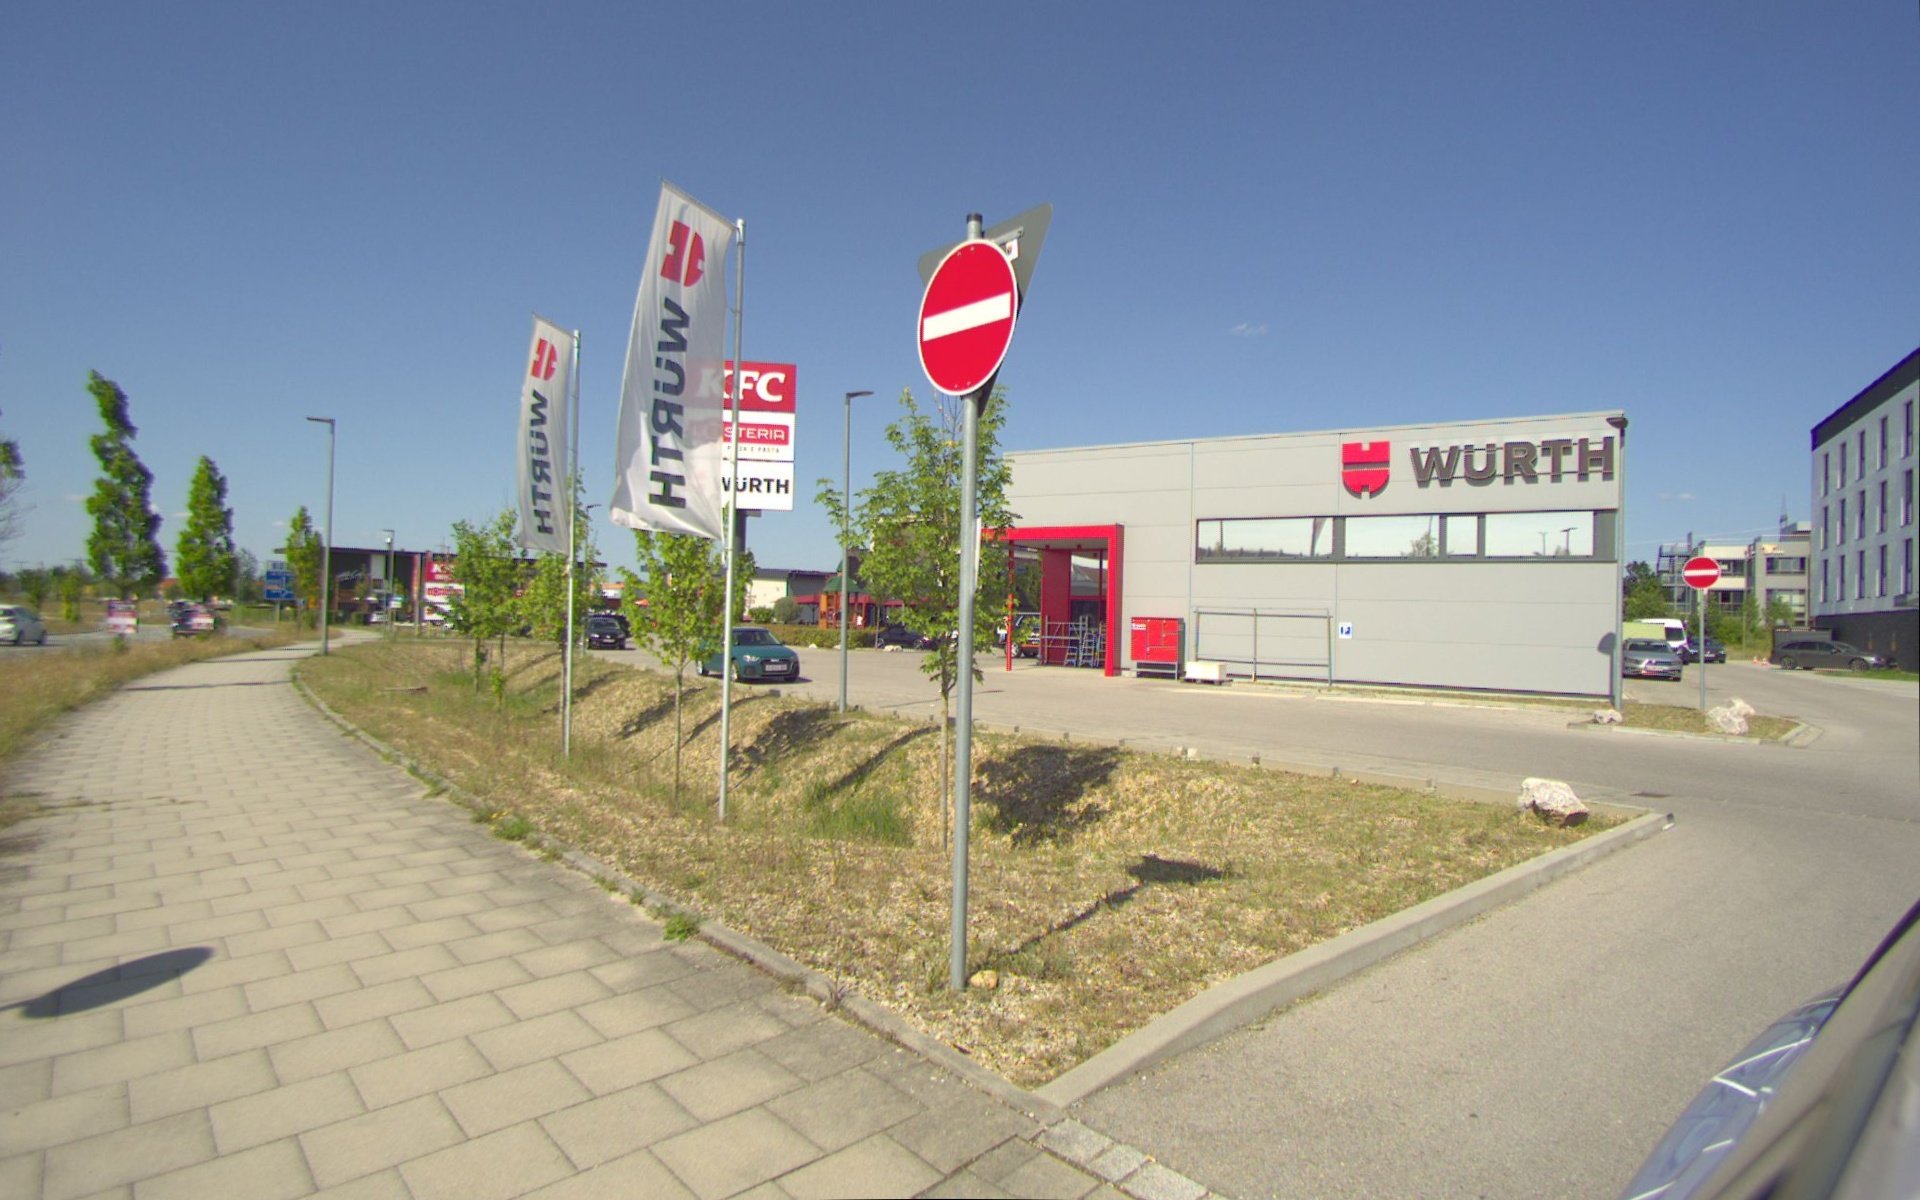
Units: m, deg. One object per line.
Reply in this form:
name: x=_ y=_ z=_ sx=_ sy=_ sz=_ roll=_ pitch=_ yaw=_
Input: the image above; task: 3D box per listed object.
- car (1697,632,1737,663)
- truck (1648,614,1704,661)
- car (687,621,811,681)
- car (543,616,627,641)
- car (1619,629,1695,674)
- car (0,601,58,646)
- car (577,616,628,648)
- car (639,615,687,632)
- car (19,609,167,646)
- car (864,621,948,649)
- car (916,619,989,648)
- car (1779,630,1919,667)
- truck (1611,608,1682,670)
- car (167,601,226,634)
car: x=42.797 y=2.649 z=57.254 sx=1.708 sy=1.638 sz=3.948 roll=0 pitch=-1 yaw=36
truck: x=38.796 y=2.009 z=54.970 sx=1.983 sy=2.407 sz=5.825 roll=0 pitch=-1 yaw=30
car: x=-5.808 y=1.323 z=27.503 sx=1.810 sy=1.468 sz=4.227 roll=2 pitch=-2 yaw=-34
car: x=-22.788 y=1.758 z=61.572 sx=4.445 sy=1.477 sz=2.001 roll=2 pitch=-2 yaw=-33
car: x=25.515 y=1.850 z=37.154 sx=1.862 sy=1.527 sz=3.959 roll=0 pitch=-1 yaw=29
car: x=-35.406 y=0.832 z=37.507 sx=1.907 sy=1.571 sz=4.766 roll=1 pitch=-1 yaw=-29
car: x=-17.306 y=1.529 z=48.913 sx=1.839 sy=1.484 sz=4.370 roll=1 pitch=-1 yaw=-26
car: x=-28.402 y=2.251 z=96.859 sx=1.871 sy=1.586 sz=4.034 roll=0 pitch=-2 yaw=41
car: x=-38.953 y=1.211 z=45.592 sx=1.933 sy=1.571 sz=4.702 roll=0 pitch=-1 yaw=34
car: x=-2.850 y=1.800 z=53.177 sx=4.119 sy=1.355 sz=1.811 roll=0 pitch=-2 yaw=30
car: x=-0.444 y=1.879 z=57.340 sx=3.889 sy=1.493 sz=1.780 roll=0 pitch=-2 yaw=35
car: x=40.854 y=2.189 z=46.597 sx=1.840 sy=1.527 sz=4.533 roll=1 pitch=-1 yaw=-23
truck: x=28.933 y=1.614 z=42.810 sx=2.106 sy=2.407 sz=5.825 roll=0 pitch=-1 yaw=30
car: x=-38.519 y=0.853 z=51.141 sx=1.876 sy=1.571 sz=4.392 roll=1 pitch=-1 yaw=-31
